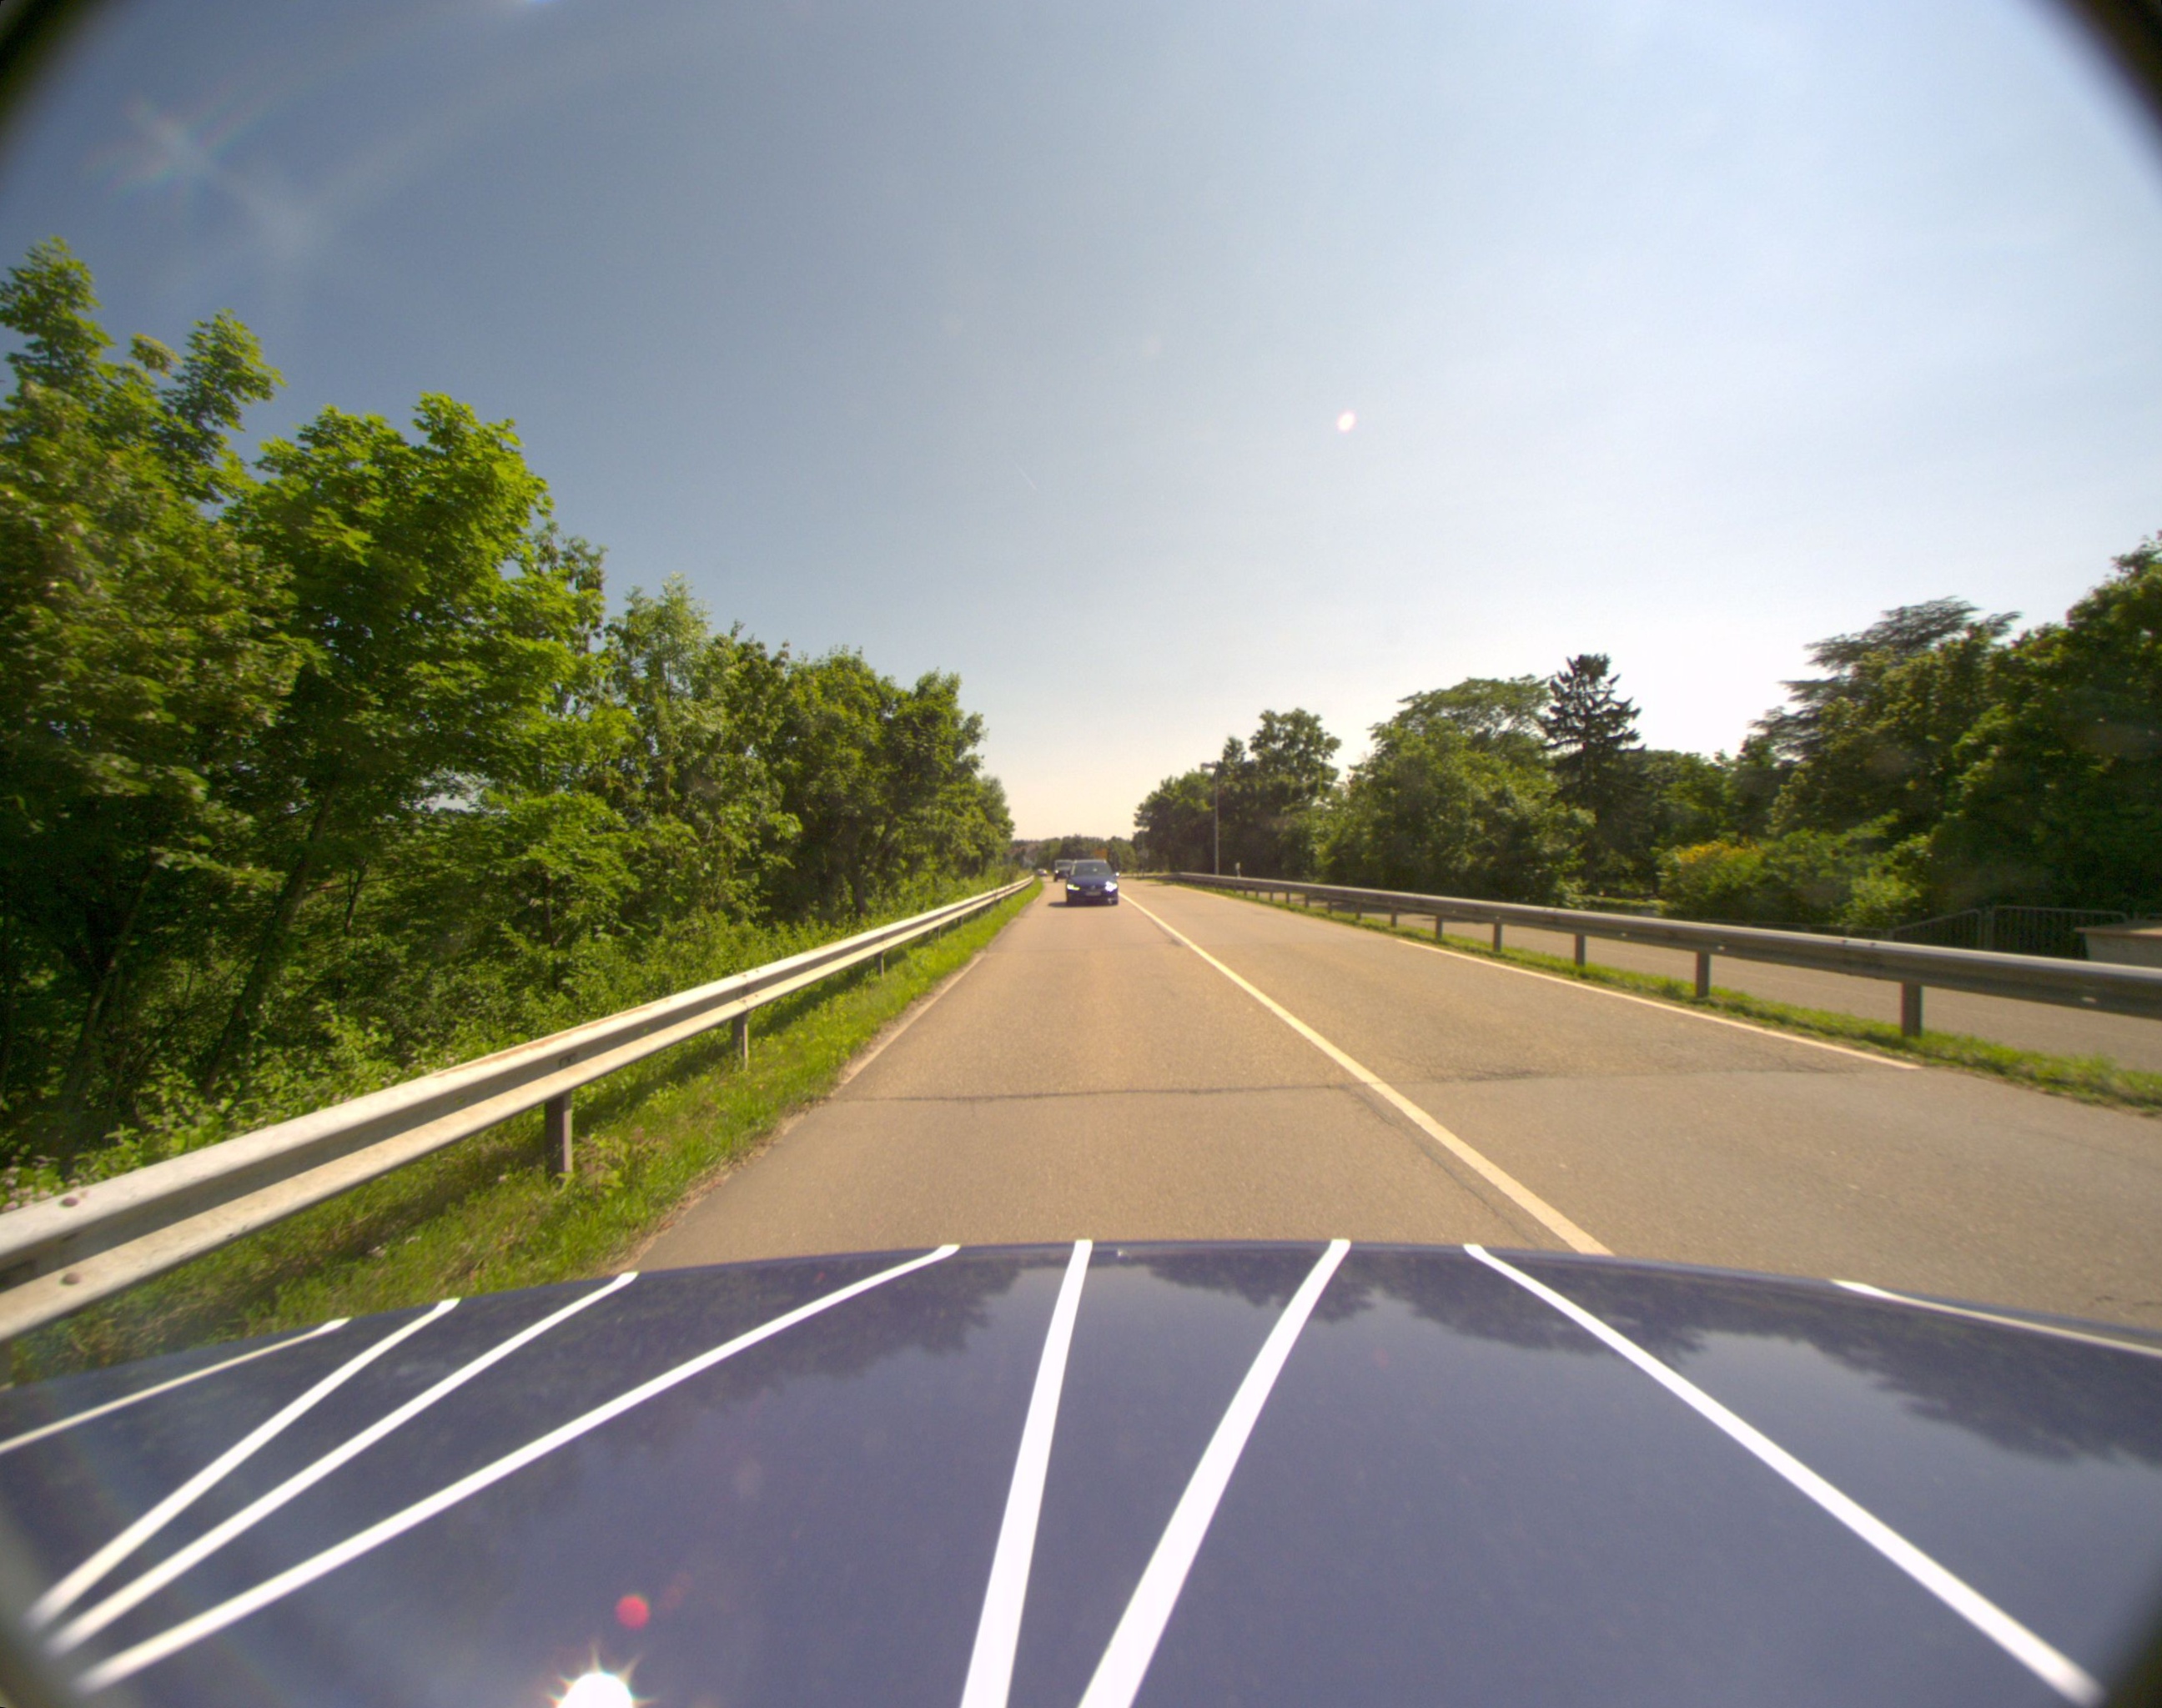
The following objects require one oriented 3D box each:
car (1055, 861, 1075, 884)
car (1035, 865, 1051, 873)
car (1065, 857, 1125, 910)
[{"bbox_3d":[-1.442,1.686,70.060,1.779,2.006,4.001,1,-1,0],"label":"car"},{"bbox_3d":[-7.522,2.924,149.477,1.747,1.447,3.880,0,0,-25],"label":"car"},{"bbox_3d":[0.429,0.930,25.942,1.828,1.591,4.195,-2,0,0],"label":"car"}]
